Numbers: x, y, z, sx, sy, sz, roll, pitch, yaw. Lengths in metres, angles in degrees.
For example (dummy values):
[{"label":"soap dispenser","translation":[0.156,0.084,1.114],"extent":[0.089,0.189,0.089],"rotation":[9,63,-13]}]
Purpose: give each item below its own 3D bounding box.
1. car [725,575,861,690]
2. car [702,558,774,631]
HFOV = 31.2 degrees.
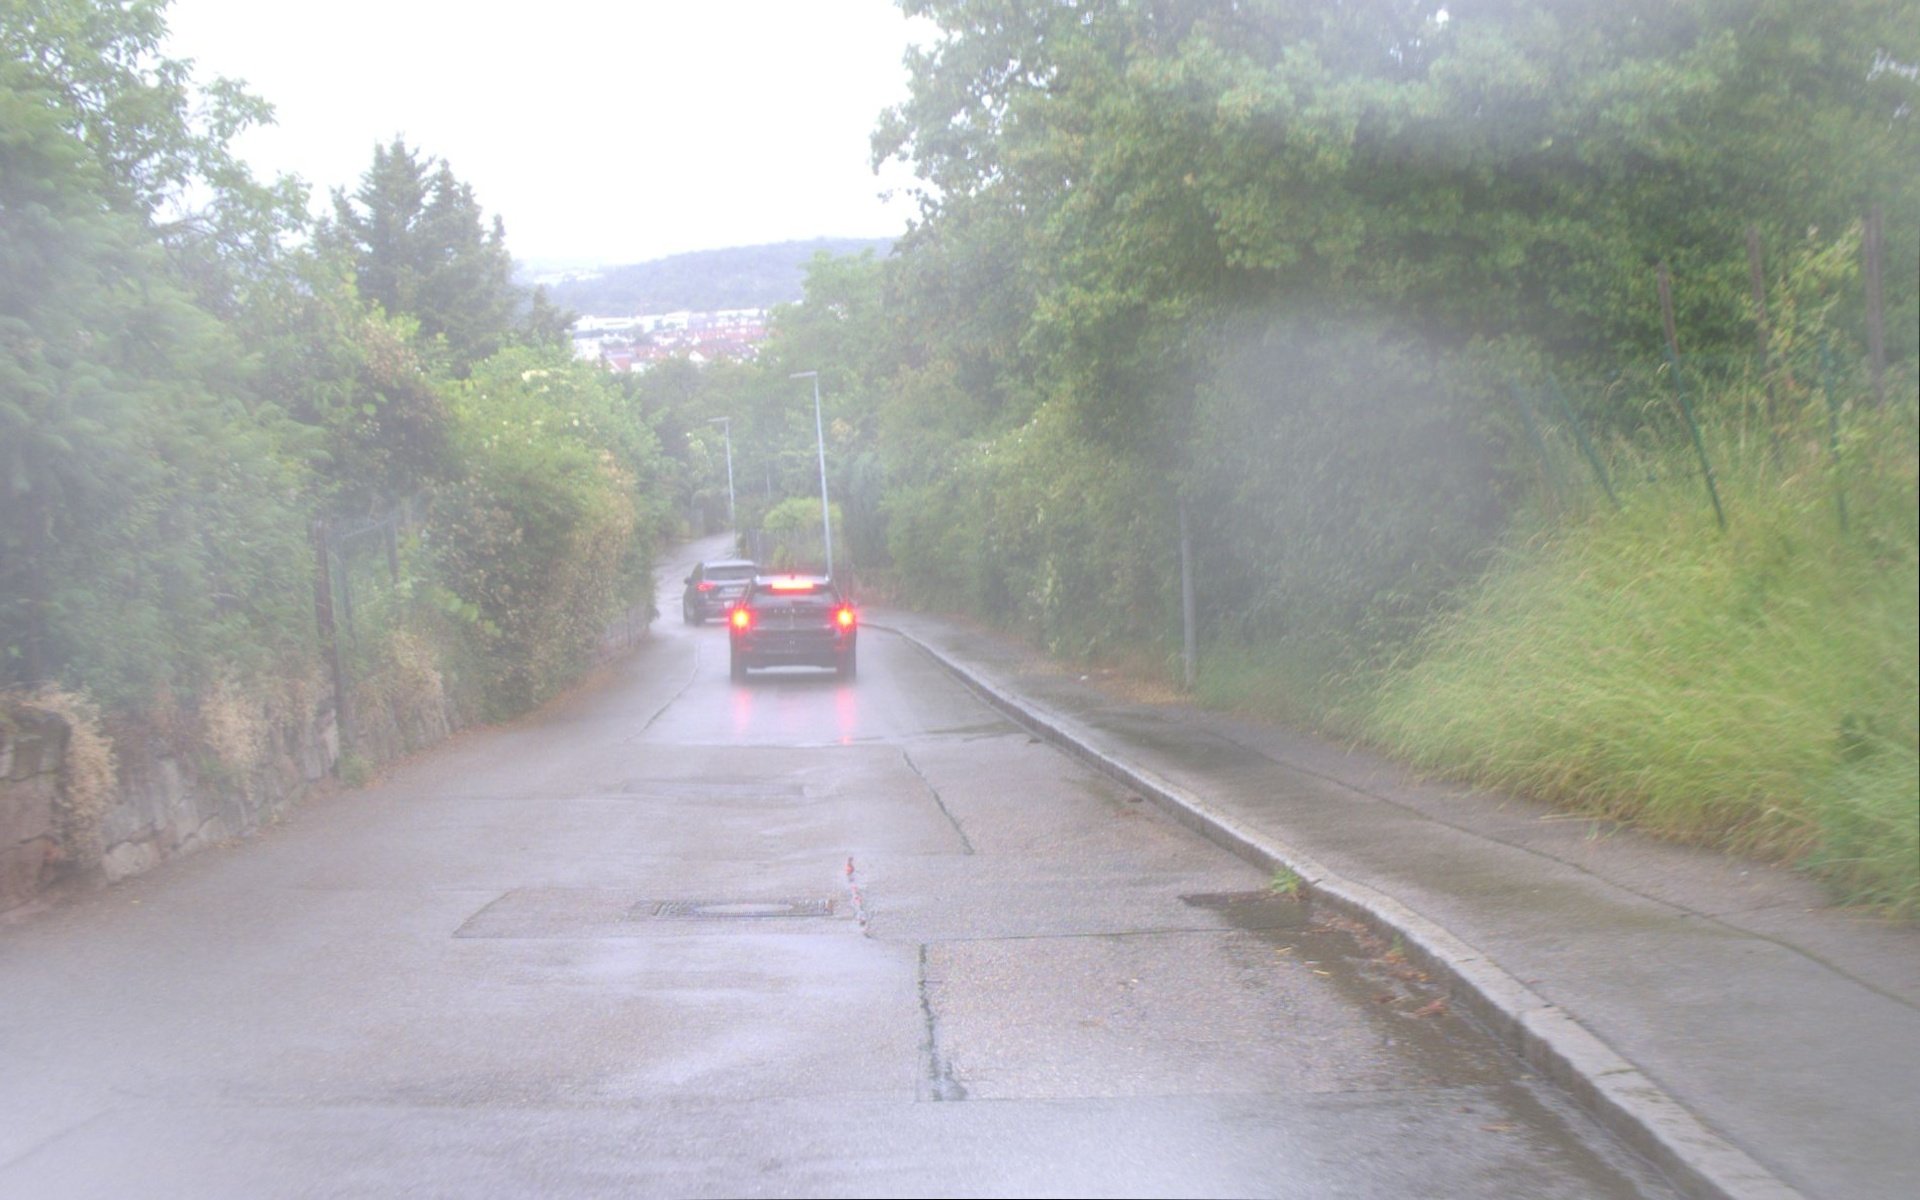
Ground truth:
[{"label":"car","translation":[-2.371,0.429,48.679],"extent":[1.834,1.459,4.001],"rotation":[0,2,-3]},{"label":"car","translation":[-5.326,-0.143,82.692],"extent":[1.678,1.559,3.795],"rotation":[-1,3,-3]}]
